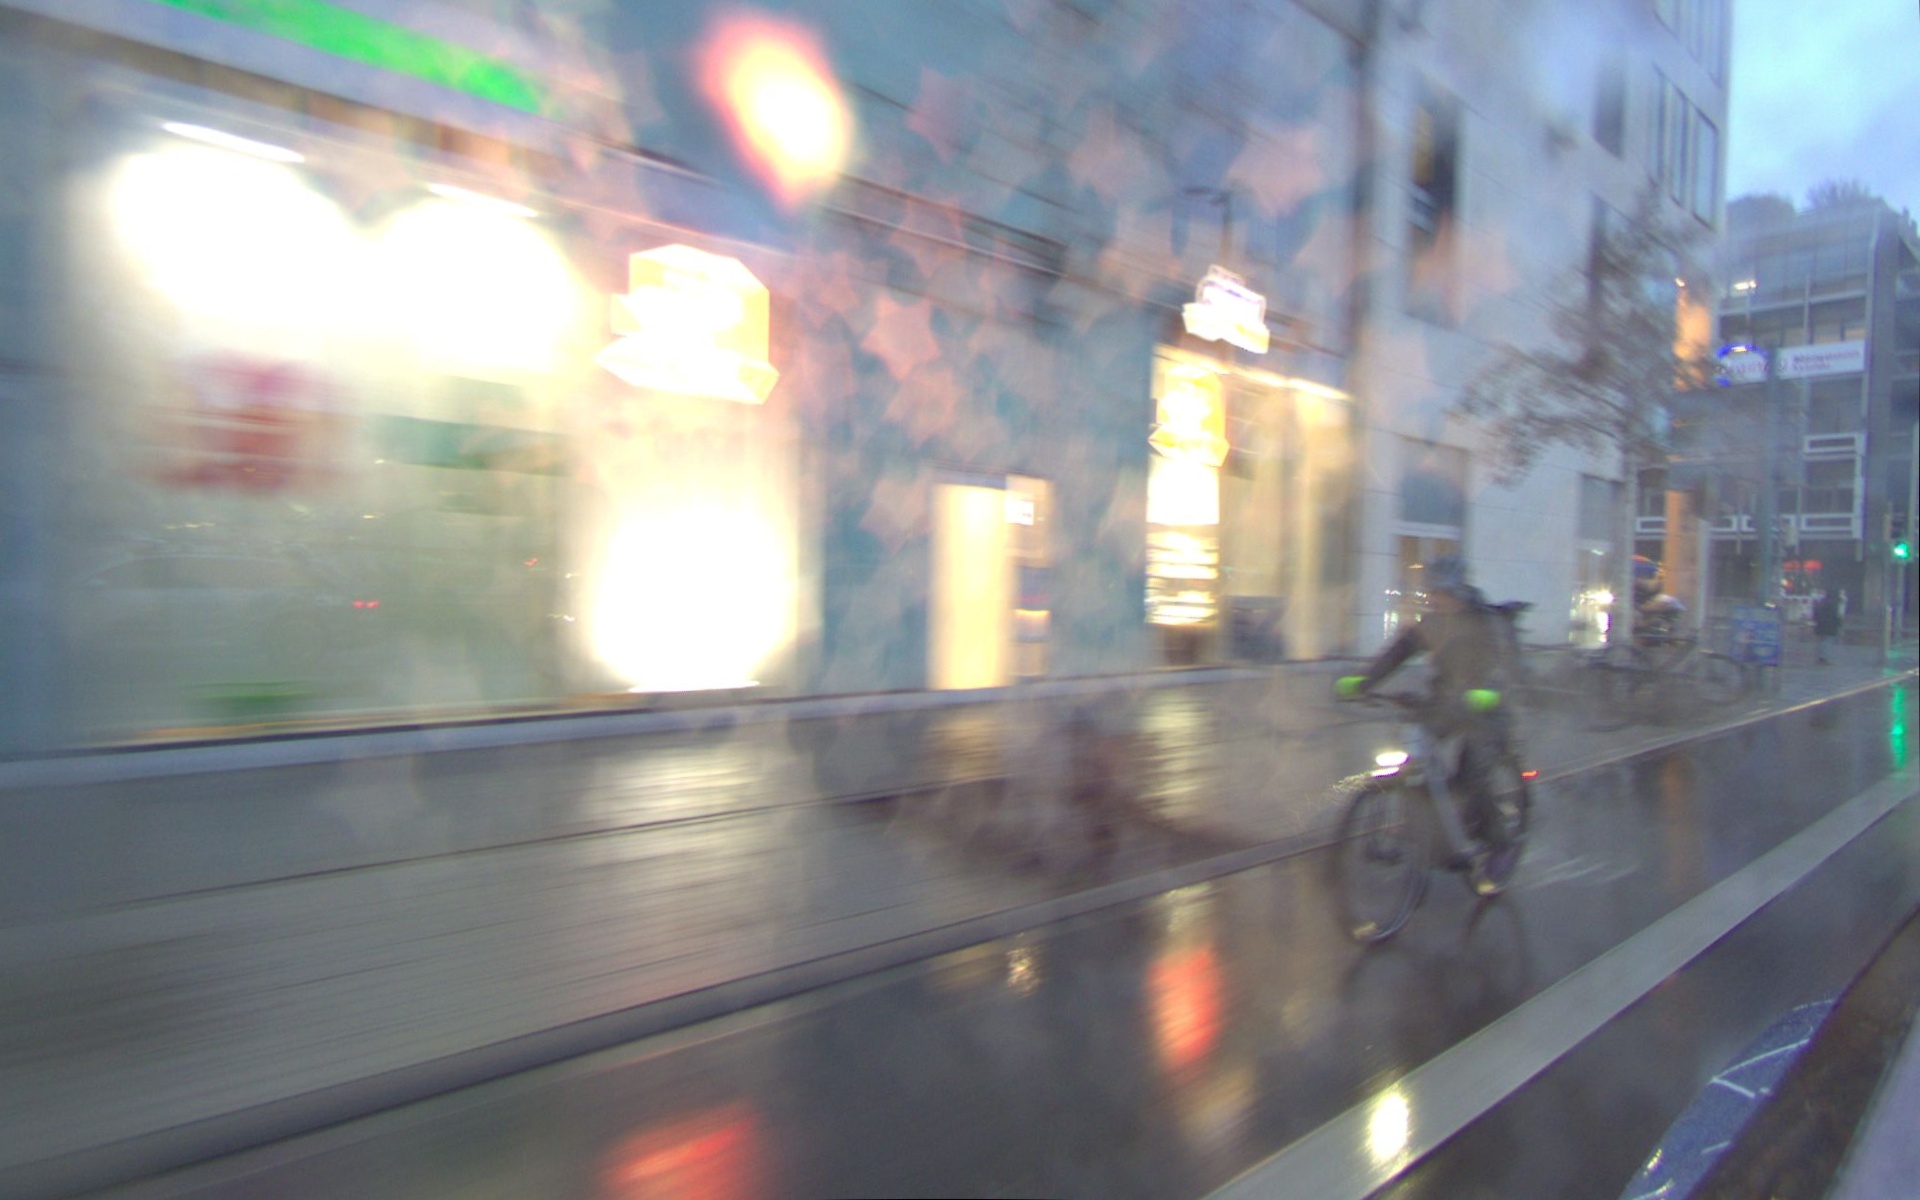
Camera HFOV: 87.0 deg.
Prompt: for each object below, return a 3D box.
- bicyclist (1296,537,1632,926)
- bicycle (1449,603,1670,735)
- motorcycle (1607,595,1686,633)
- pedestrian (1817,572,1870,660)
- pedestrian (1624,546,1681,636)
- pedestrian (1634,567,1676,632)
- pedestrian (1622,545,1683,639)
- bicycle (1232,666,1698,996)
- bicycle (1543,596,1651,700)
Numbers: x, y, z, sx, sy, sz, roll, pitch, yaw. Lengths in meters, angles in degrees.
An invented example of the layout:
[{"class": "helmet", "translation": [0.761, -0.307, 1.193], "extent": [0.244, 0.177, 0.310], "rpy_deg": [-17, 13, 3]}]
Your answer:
[{"class": "bicyclist", "translation": [2.241, 0.486, 4.535], "extent": [1.046, 1.481, 0.946], "rpy_deg": [0, 1, -34]}, {"class": "bicycle", "translation": [6.416, 0.685, 10.931], "extent": [0.655, 1.189, 1.908], "rpy_deg": [0, 3, -39]}, {"class": "motorcycle", "translation": [17.415, 0.345, 25.701], "extent": [0.387, 0.901, 1.637], "rpy_deg": [1, 1, -37]}, {"class": "pedestrian", "translation": [18.012, 0.311, 20.652], "extent": [0.704, 1.715, 0.714], "rpy_deg": [4, 3, 39]}, {"class": "pedestrian", "translation": [17.150, -0.238, 25.066], "extent": [0.569, 2.188, 0.969], "rpy_deg": [0, 1, -27]}, {"class": "pedestrian", "translation": [17.768, -0.022, 25.875], "extent": [0.492, 1.628, 0.779], "rpy_deg": [1, 0, -38]}, {"class": "pedestrian", "translation": [16.725, -0.206, 24.464], "extent": [0.696, 2.219, 0.963], "rpy_deg": [0, 1, -27]}, {"class": "bicycle", "translation": [2.352, 0.889, 4.614], "extent": [2.197, 1.012, 0.946], "rpy_deg": [0, 1, -34]}, {"class": "bicycle", "translation": [8.475, 0.601, 13.529], "extent": [0.656, 1.277, 1.555], "rpy_deg": [1, 1, 10]}]
